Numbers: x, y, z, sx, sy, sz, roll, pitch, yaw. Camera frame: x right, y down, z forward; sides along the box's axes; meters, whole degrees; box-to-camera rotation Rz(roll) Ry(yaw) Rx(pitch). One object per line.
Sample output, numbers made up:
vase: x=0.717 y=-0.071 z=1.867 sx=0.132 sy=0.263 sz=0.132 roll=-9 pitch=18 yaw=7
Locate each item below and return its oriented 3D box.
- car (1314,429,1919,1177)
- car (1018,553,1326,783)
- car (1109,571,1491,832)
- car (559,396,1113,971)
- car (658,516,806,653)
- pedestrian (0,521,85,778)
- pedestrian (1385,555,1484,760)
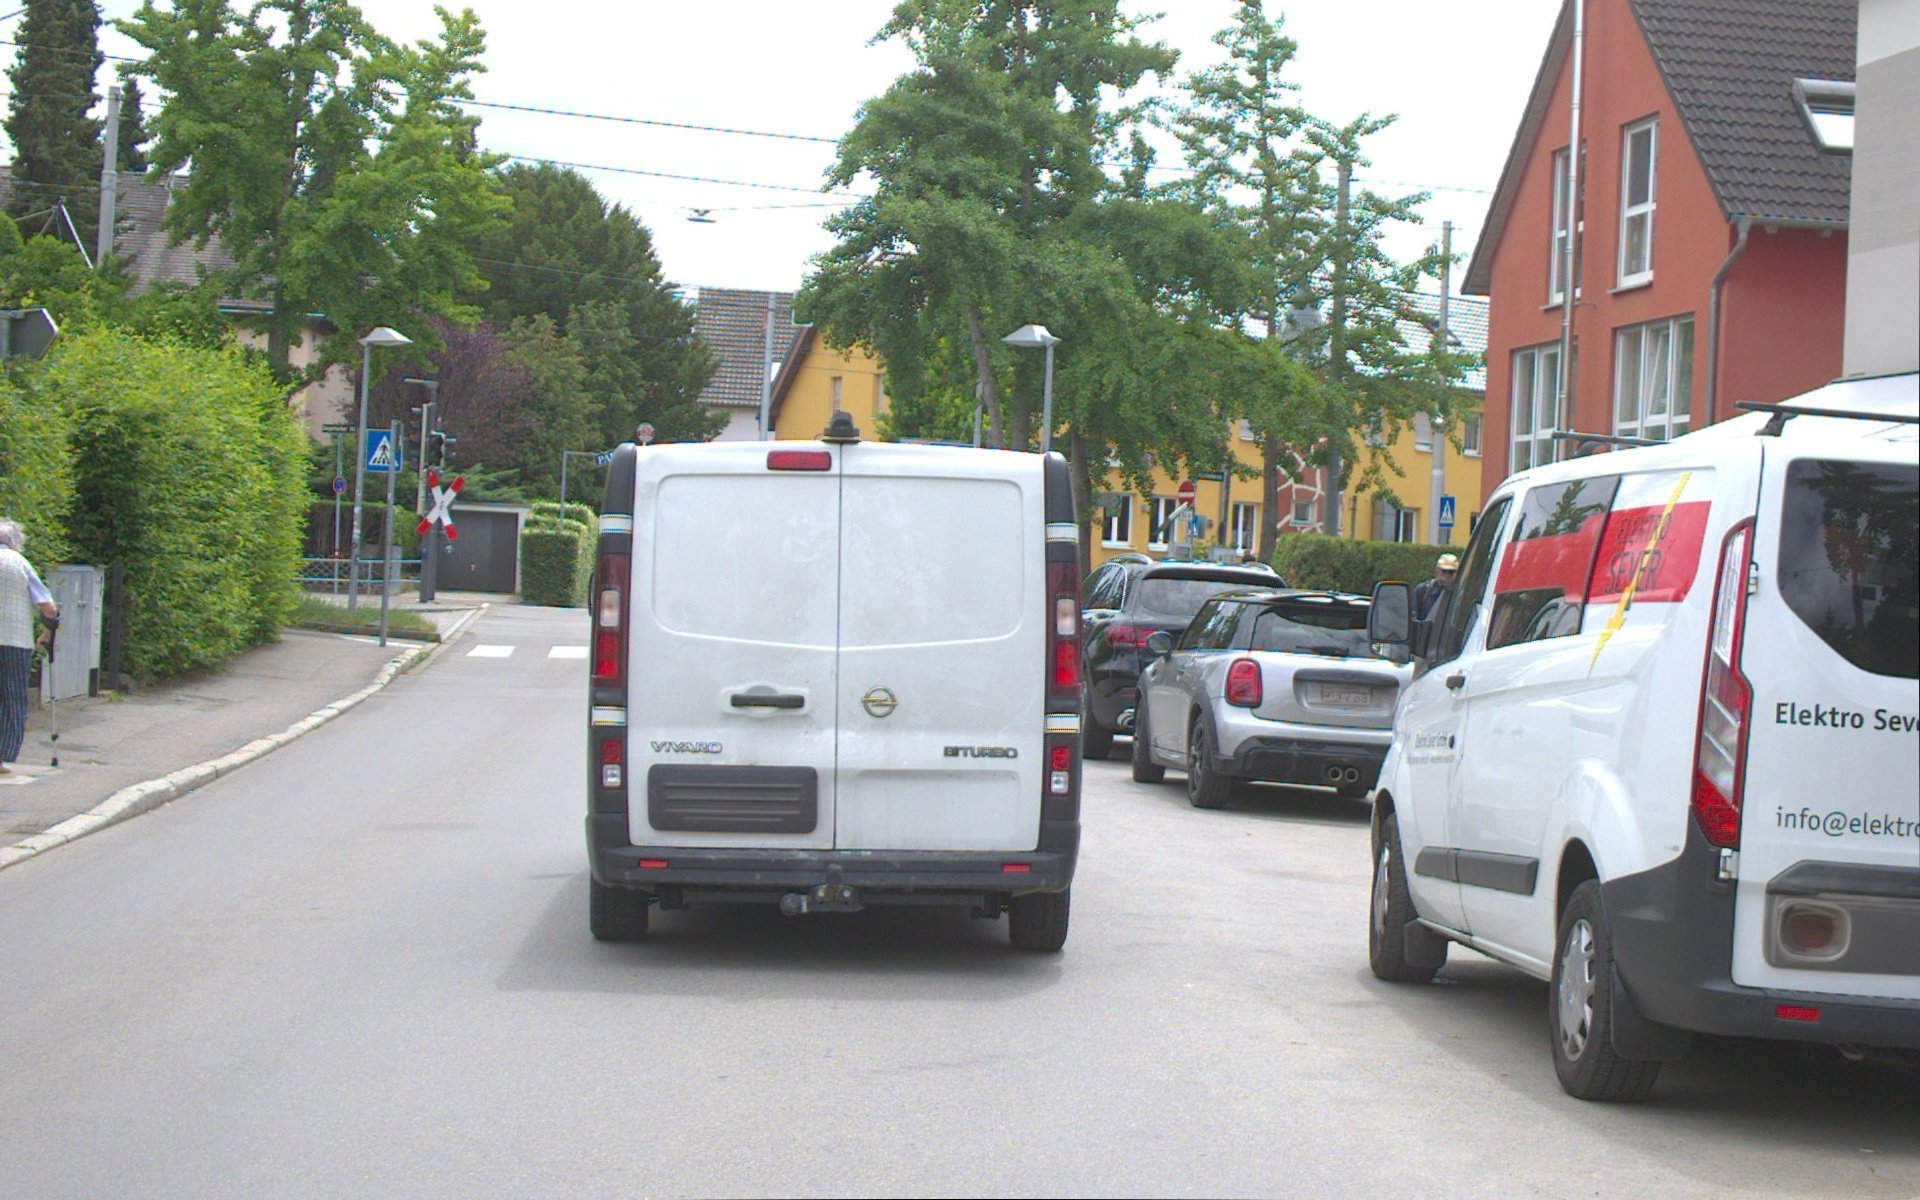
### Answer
car: x=2.653 y=0.584 z=11.508 sx=1.958 sy=1.909 sz=4.902 roll=5 pitch=0 yaw=-4
car: x=1.642 y=0.491 z=28.084 sx=1.702 sy=1.609 sz=4.259 roll=5 pitch=0 yaw=-6
car: x=2.198 y=0.629 z=23.190 sx=1.741 sy=1.489 sz=3.656 roll=5 pitch=0 yaw=-6
car: x=-0.578 y=0.293 z=14.546 sx=1.915 sy=1.996 sz=4.438 roll=2 pitch=0 yaw=-4
car: x=-3.281 y=-0.207 z=49.851 sx=1.993 sy=1.842 sz=4.000 roll=2 pitch=0 yaw=-3
pedestrian: x=-5.734 y=0.274 z=20.396 sx=0.876 sy=1.480 sz=0.455 roll=5 pitch=-1 yaw=-23
pedestrian: x=3.831 y=0.463 z=27.801 sx=0.590 sy=1.601 sz=0.529 roll=5 pitch=-1 yaw=-2
